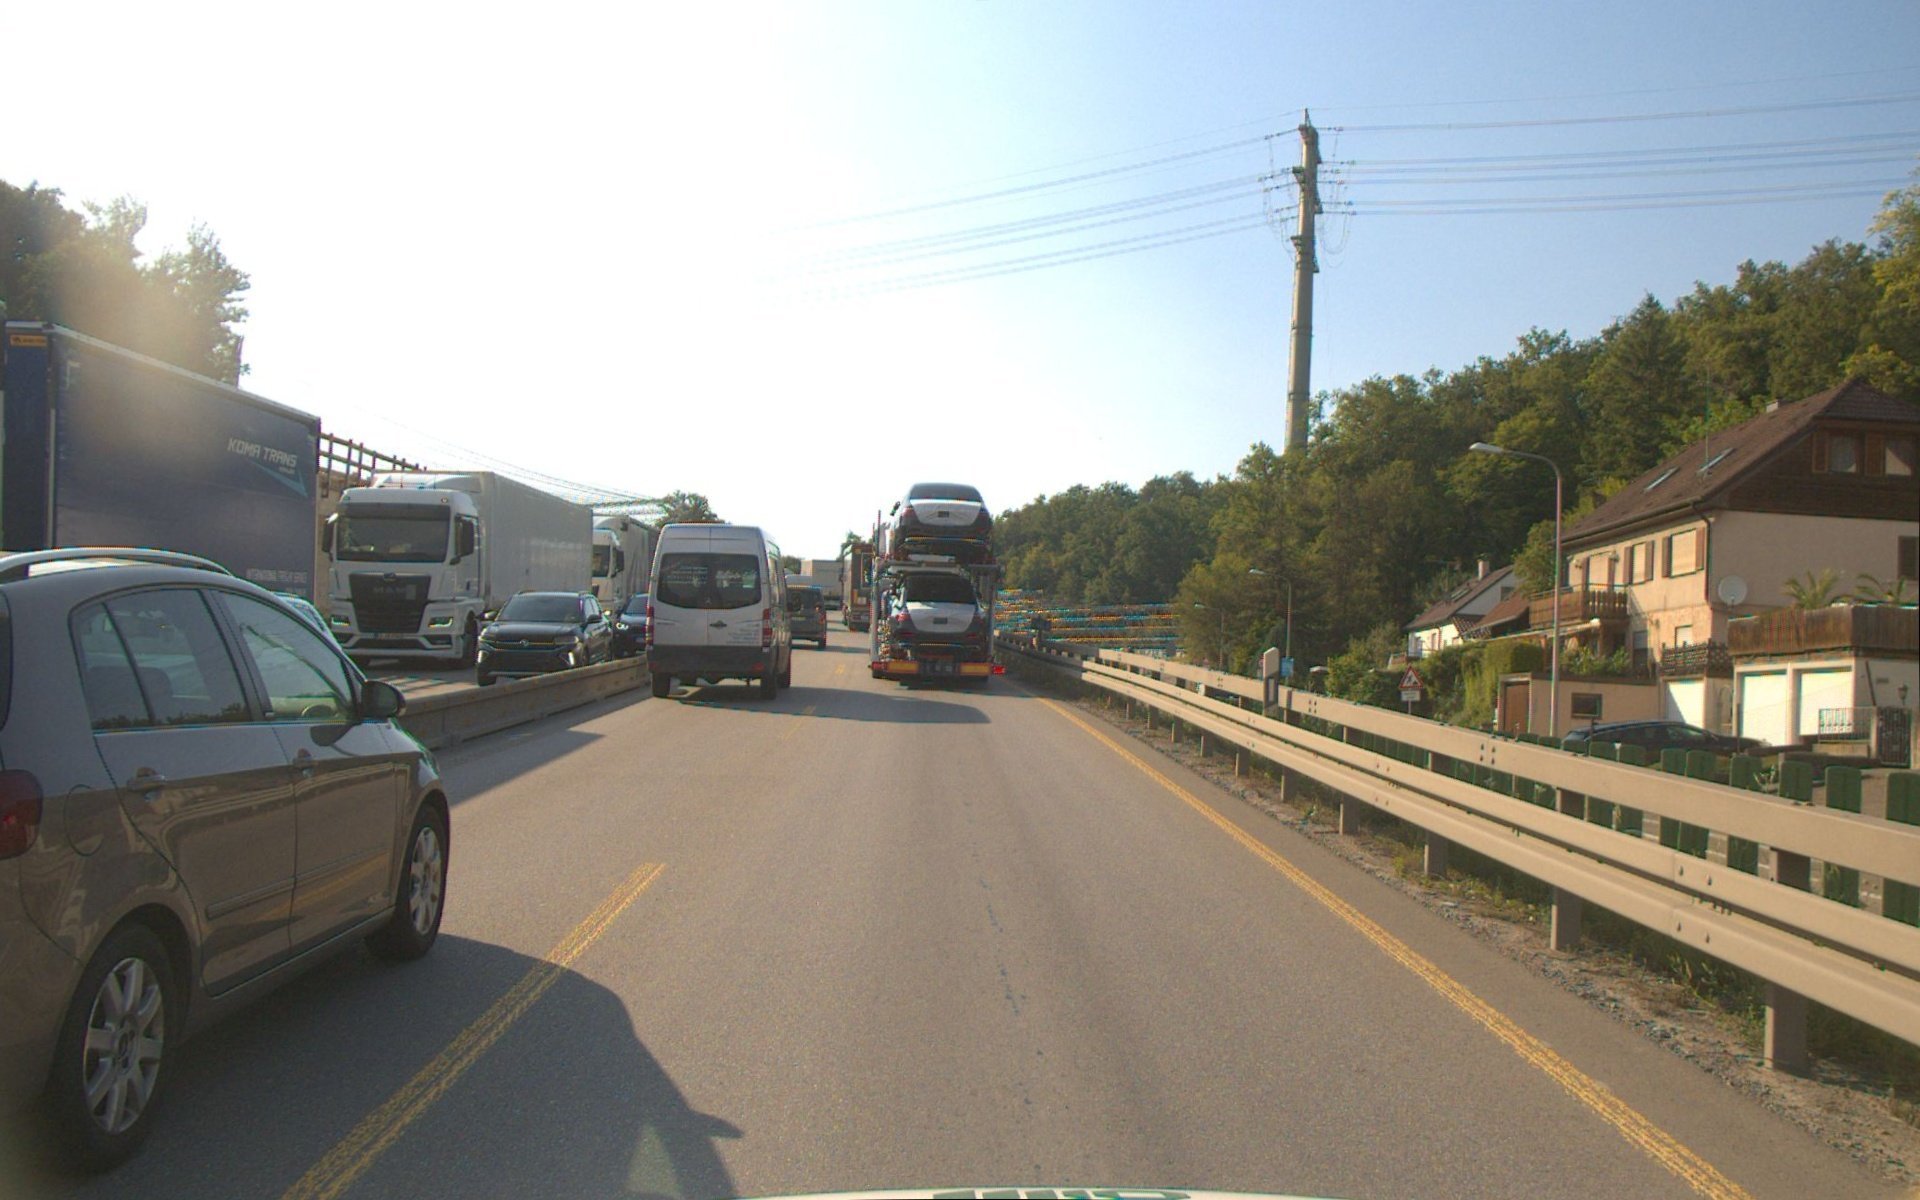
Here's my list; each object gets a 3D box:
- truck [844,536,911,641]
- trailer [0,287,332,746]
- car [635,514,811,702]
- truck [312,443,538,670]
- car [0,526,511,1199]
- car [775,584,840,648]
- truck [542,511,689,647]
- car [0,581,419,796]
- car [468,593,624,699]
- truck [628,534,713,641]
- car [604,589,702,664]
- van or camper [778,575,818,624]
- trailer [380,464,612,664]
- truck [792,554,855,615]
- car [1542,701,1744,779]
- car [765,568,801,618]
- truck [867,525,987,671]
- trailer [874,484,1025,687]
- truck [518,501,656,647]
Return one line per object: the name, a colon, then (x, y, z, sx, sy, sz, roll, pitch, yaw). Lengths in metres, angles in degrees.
truck: (-3.971, -0.505, 79.972, 2.850, 4.687, 7.282, 4, -1, -3)
trailer: (-10.238, -0.782, 19.278, 2.554, 4.184, 9.622, 1, 0, -3)
car: (-3.779, 0.136, 27.407, 1.953, 2.694, 5.530, 3, 0, 0)
truck: (-11.070, -0.777, 34.903, 2.656, 4.164, 6.200, 5, -1, -3)
car: (-2.899, 0.611, 5.477, 1.646, 1.616, 4.271, 2, 0, -1)
car: (-5.084, 0.582, 55.664, 1.772, 1.937, 3.998, 5, -2, -1)
truck: (-12.548, -0.621, 61.995, 2.924, 4.225, 15.842, 4, -1, -4)
car: (-6.516, 0.733, 14.942, 1.736, 1.564, 4.401, 3, -1, 0)
car: (-6.988, 0.769, 28.322, 1.628, 1.556, 3.998, 5, -1, -1)
truck: (-13.017, -0.509, 74.925, 2.387, 4.431, 7.515, 3, -1, -1)
car: (-7.984, 0.709, 43.355, 1.770, 1.713, 3.998, 5, -1, -1)
van or camper: (-9.502, -0.014, 97.317, 1.930, 2.636, 5.037, 5, -1, -4)
trailer: (-11.452, -0.658, 42.448, 2.656, 4.164, 12.560, 5, -1, -3)
truck: (-11.796, -1.257, 141.567, 3.993, 4.761, 10.563, 4, -1, -11)
car: (15.963, 3.267, 38.806, 3.907, 1.467, 1.890, 5, -3, -1)
car: (-19.734, -0.781, 183.939, 3.381, 5.122, 9.636, 4, -1, -8)
truck: (-1.024, 0.025, 45.316, 2.631, 3.597, 7.184, 2, -1, -6)
trailer: (-0.526, -0.112, 37.583, 2.629, 3.597, 15.278, 2, -1, -3)
truck: (-12.085, -0.767, 54.280, 2.924, 4.225, 7.387, 4, -1, -3)
